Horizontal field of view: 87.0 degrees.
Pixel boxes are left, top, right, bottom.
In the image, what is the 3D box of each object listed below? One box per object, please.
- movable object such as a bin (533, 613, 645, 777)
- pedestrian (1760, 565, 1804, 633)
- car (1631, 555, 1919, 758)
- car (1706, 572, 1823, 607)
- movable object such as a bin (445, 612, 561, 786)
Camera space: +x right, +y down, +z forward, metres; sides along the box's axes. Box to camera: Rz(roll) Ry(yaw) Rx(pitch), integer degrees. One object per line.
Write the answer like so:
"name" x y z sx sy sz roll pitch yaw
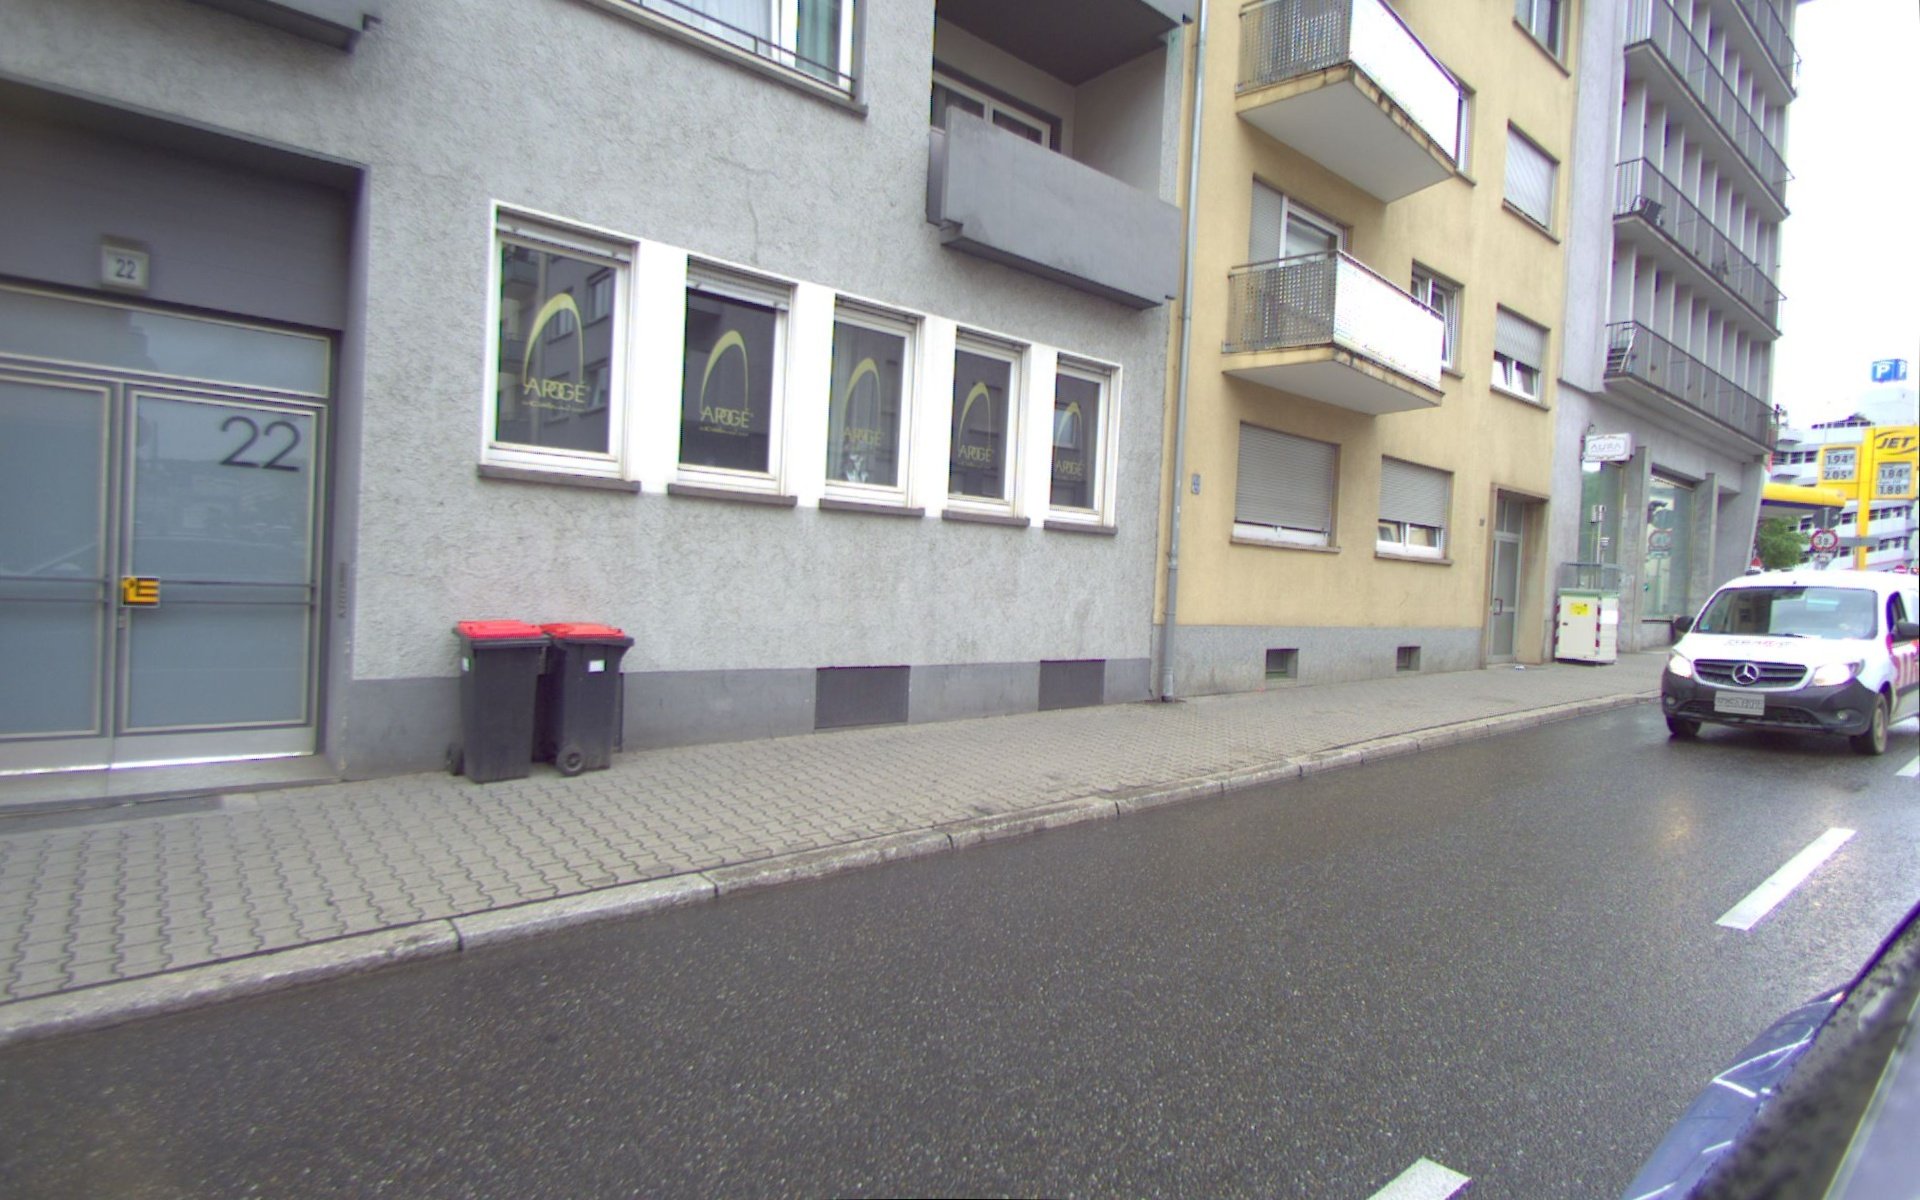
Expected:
"movable object such as a bin" -2.426 0.591 6.608 0.506 0.961 0.541 0 4 -40
"pedestrian" 22.099 -0.043 27.201 0.872 1.777 0.679 0 2 -39
"car" 9.437 0.479 11.102 4.656 1.797 1.946 0 1 -36
"car" 35.136 -0.446 44.321 1.737 1.493 4.003 0 0 -4
"movable object such as a bin" -2.840 0.583 6.280 0.506 0.967 0.541 0 4 -40
